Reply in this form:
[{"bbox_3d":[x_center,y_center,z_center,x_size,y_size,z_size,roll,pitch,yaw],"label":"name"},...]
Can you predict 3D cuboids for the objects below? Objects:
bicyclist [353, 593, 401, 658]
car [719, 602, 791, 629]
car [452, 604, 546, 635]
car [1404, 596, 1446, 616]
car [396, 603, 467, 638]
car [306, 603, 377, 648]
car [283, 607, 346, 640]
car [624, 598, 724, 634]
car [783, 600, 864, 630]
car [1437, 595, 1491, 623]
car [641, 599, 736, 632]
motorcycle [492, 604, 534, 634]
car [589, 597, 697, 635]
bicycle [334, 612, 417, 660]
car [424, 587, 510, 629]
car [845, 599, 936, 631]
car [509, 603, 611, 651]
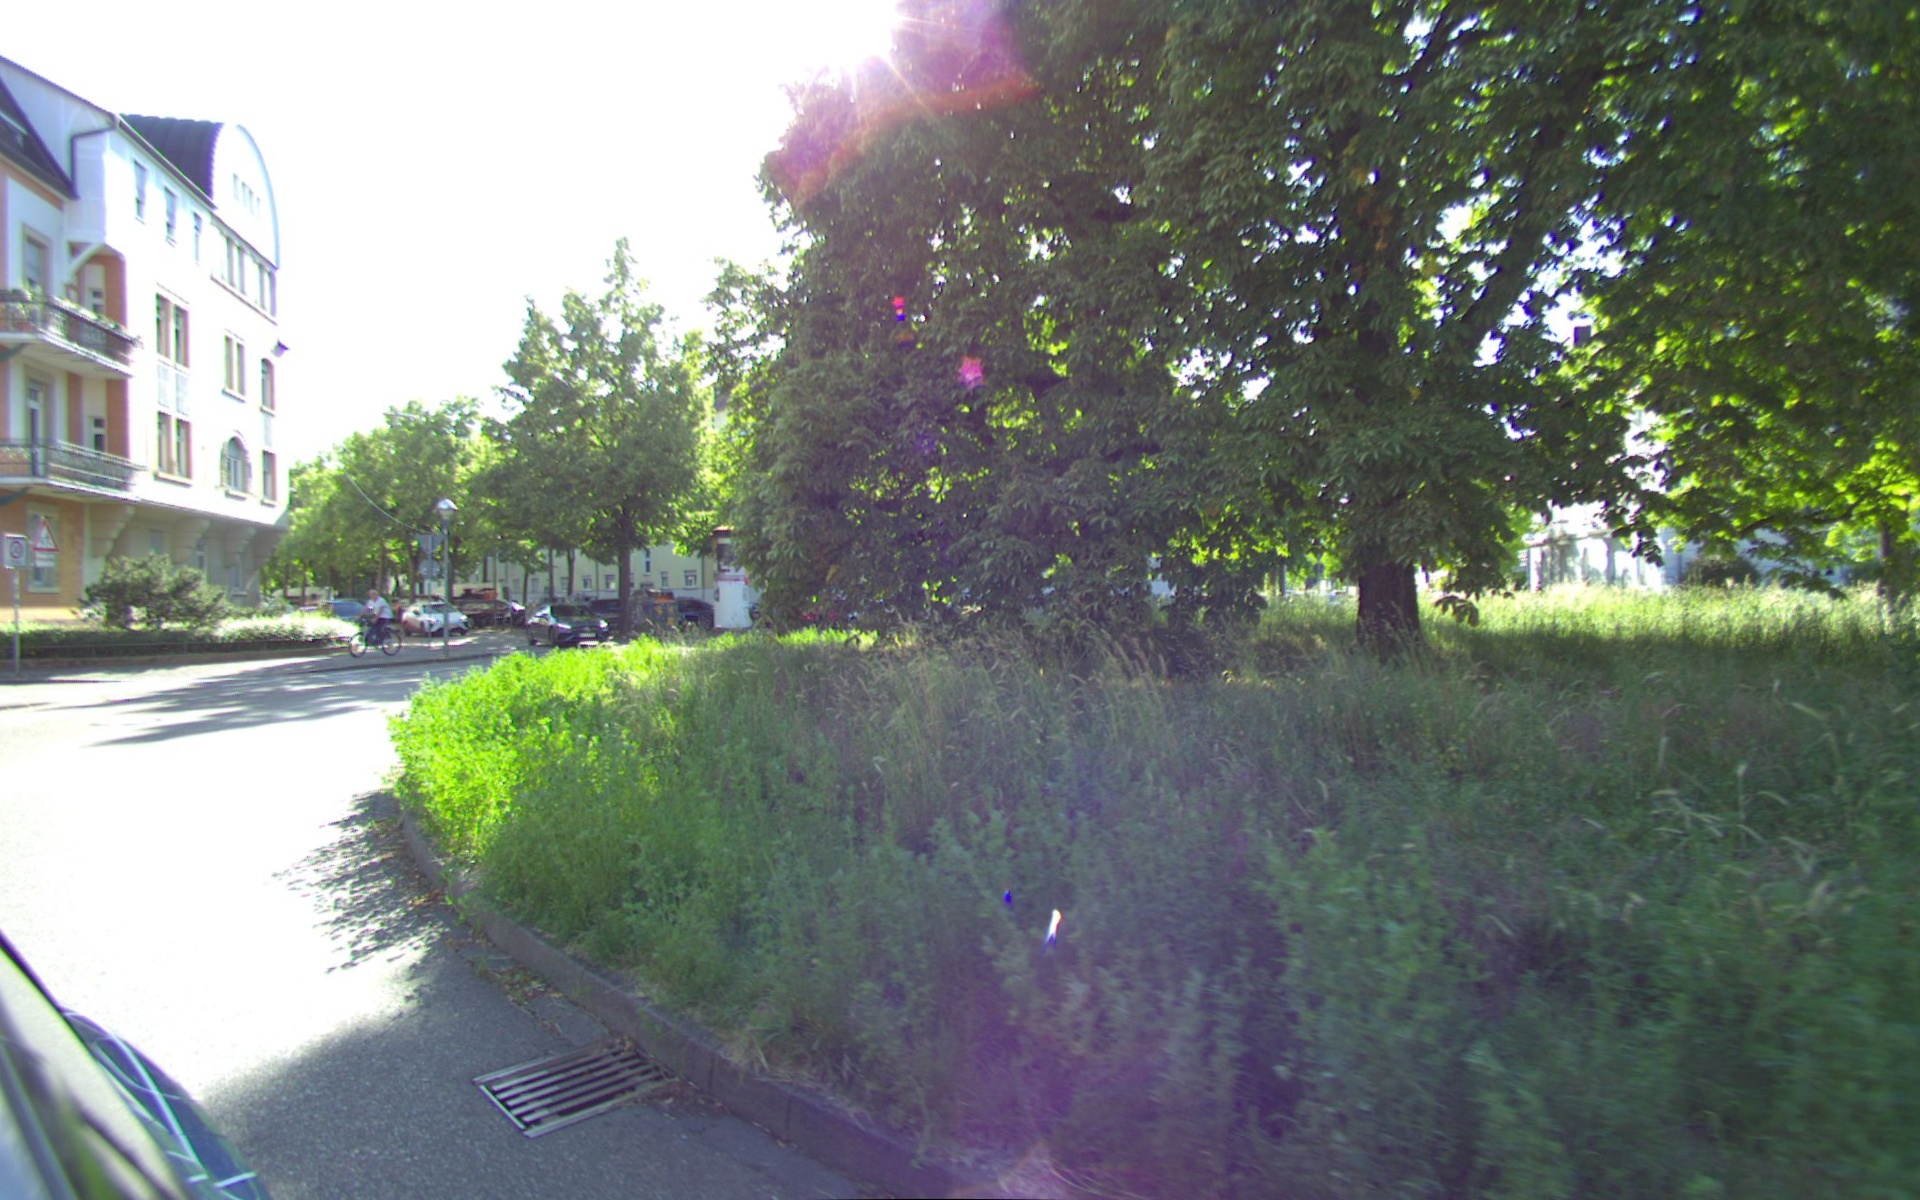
[{"bbox_3d":[-15.529,0.663,26.973,0.760,1.709,0.806,0,0,23],"label":"bicyclist"},{"bbox_3d":[-11.221,0.841,55.272,1.710,1.450,4.390,0,0,-44],"label":"car"},{"bbox_3d":[-23.234,0.961,51.145,3.938,1.452,1.826,-1,0,-6],"label":"car"},{"bbox_3d":[29.695,0.385,64.740,1.783,1.265,3.702,-1,0,14],"label":"car"},{"bbox_3d":[-23.637,0.926,45.218,1.771,1.446,4.213,-2,0,-42],"label":"car"},{"bbox_3d":[-27.101,1.116,44.296,1.771,1.780,4.213,-4,2,-43],"label":"car"},{"bbox_3d":[-31.147,1.126,48.802,1.771,1.464,4.213,-4,2,-43],"label":"car"},{"bbox_3d":[-12.368,0.672,43.984,3.939,1.484,1.762,-1,-1,-5],"label":"car"},{"bbox_3d":[-6.857,0.745,50.614,1.710,1.450,4.390,0,0,-44],"label":"car"},{"bbox_3d":[26.766,0.460,53.871,1.784,1.423,3.980,-1,0,16],"label":"car"},{"bbox_3d":[-12.835,0.699,47.926,3.935,1.484,1.763,0,-1,-37],"label":"car"},{"bbox_3d":[-21.289,0.890,48.264,0.725,1.358,1.783,-1,0,27],"label":"motorcycle"},{"bbox_3d":[-12.947,0.643,41.495,3.940,1.484,1.761,-1,-1,-4],"label":"car"},{"bbox_3d":[-15.545,0.940,26.966,0.760,1.207,1.855,0,0,23],"label":"bicycle"},{"bbox_3d":[-31.033,0.502,63.868,4.519,2.509,1.991,-1,0,-11],"label":"car"},{"bbox_3d":[-3.264,0.688,47.007,1.707,1.422,4.492,0,0,-44],"label":"car"},{"bbox_3d":[-13.423,0.885,33.838,1.771,1.446,4.213,-2,0,-42],"label":"car"}]
